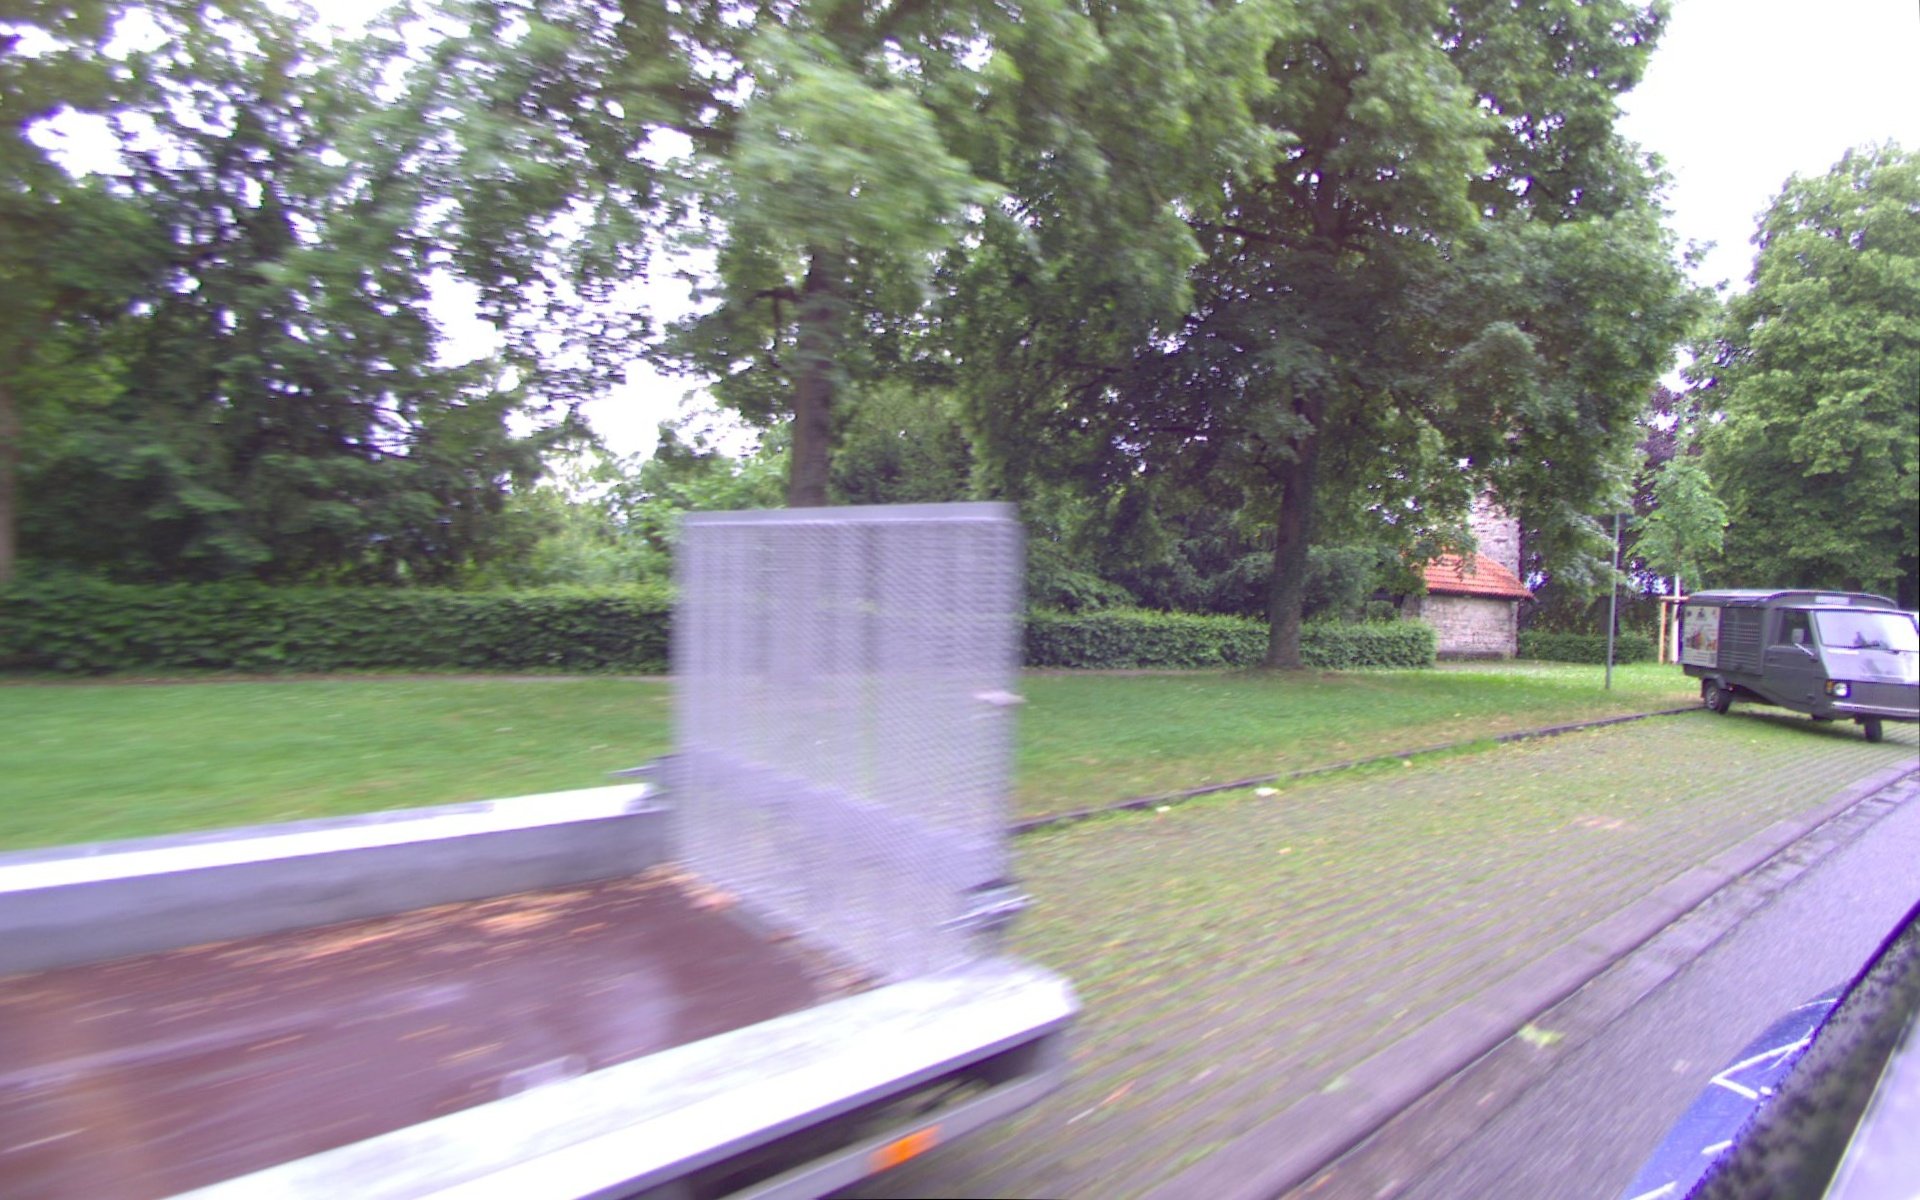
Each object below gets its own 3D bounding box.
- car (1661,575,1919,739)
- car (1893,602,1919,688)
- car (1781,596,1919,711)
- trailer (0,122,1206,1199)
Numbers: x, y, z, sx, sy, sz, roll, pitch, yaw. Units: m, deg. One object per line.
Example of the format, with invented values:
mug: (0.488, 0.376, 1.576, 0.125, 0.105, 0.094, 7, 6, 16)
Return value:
car: (10.839, 0.592, 12.910, 1.586, 1.701, 3.995, 3, 2, 11)
car: (19.676, 0.919, 19.313, 4.185, 1.558, 1.812, 2, 2, -35)
car: (14.755, 0.809, 15.682, 4.479, 1.516, 2.001, 2, 1, -35)
trailer: (-2.468, 0.442, 1.176, 5.789, 1.835, 2.454, -1, 3, -41)
